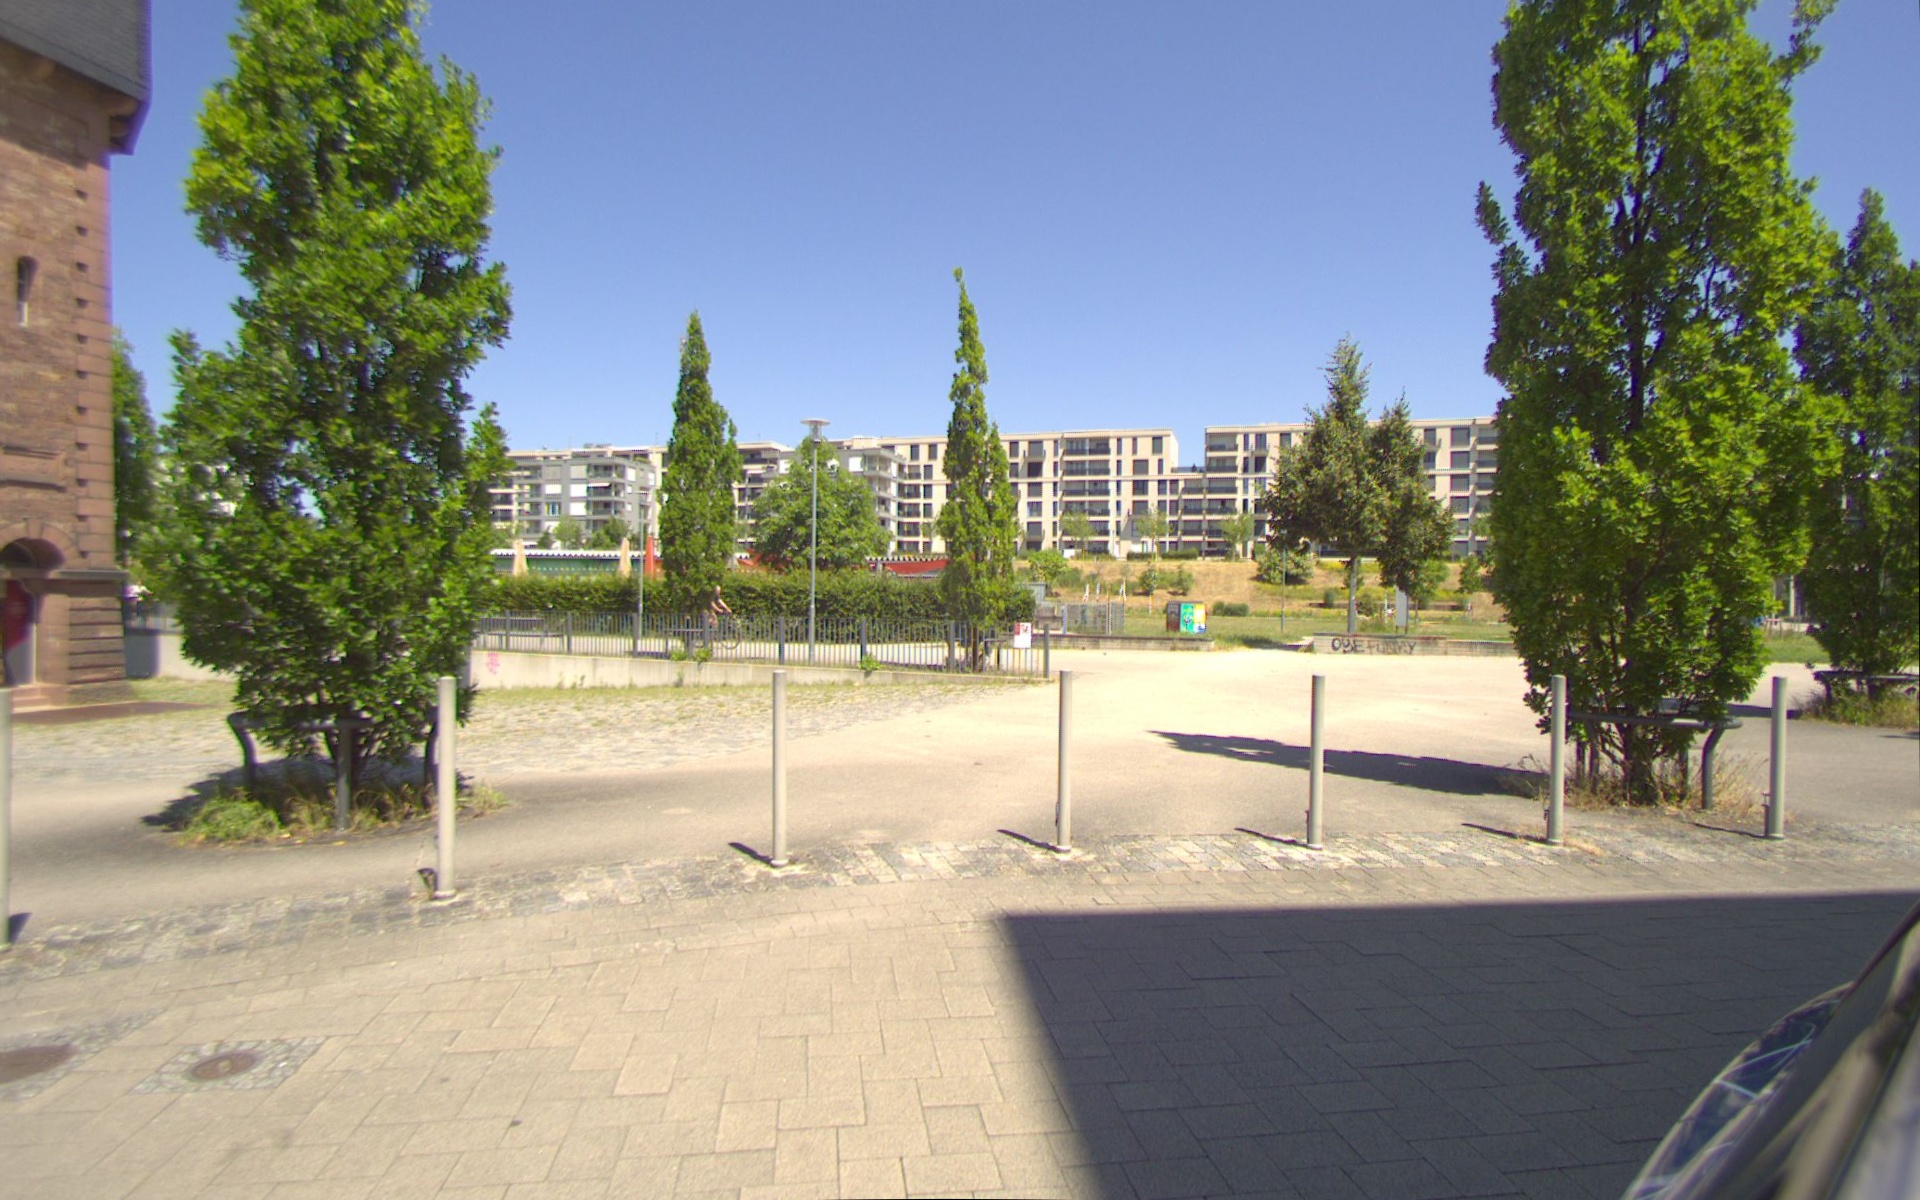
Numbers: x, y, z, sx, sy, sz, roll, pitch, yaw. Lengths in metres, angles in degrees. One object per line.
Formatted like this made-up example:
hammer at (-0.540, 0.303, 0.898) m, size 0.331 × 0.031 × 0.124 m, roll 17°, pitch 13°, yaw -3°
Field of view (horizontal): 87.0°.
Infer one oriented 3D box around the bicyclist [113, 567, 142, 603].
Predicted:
bicyclist at (-34.587, -0.620, 42.060) m, size 0.655 × 1.453 × 0.726 m, roll 1°, pitch 0°, yaw 28°

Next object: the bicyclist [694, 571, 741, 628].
bicyclist at (-6.402, -0.032, 26.736) m, size 0.876 × 1.473 × 0.850 m, roll 1°, pitch 0°, yaw 31°

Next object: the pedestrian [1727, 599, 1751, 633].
pedestrian at (41.366, 0.850, 53.730) m, size 0.603 × 1.749 × 0.816 m, roll 1°, pitch 0°, yaw -30°

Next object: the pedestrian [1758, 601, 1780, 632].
pedestrian at (46.176, 0.949, 57.765) m, size 0.603 × 1.749 × 0.816 m, roll 1°, pitch 0°, yaw -30°

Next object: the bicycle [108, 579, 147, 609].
bicycle at (-34.554, -0.247, 41.988) m, size 1.924 × 1.214 × 0.585 m, roll 1°, pitch 0°, yaw 29°

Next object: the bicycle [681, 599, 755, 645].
bicycle at (-6.402, 0.559, 26.734) m, size 1.900 × 1.132 × 0.790 m, roll 1°, pitch 0°, yaw 32°
